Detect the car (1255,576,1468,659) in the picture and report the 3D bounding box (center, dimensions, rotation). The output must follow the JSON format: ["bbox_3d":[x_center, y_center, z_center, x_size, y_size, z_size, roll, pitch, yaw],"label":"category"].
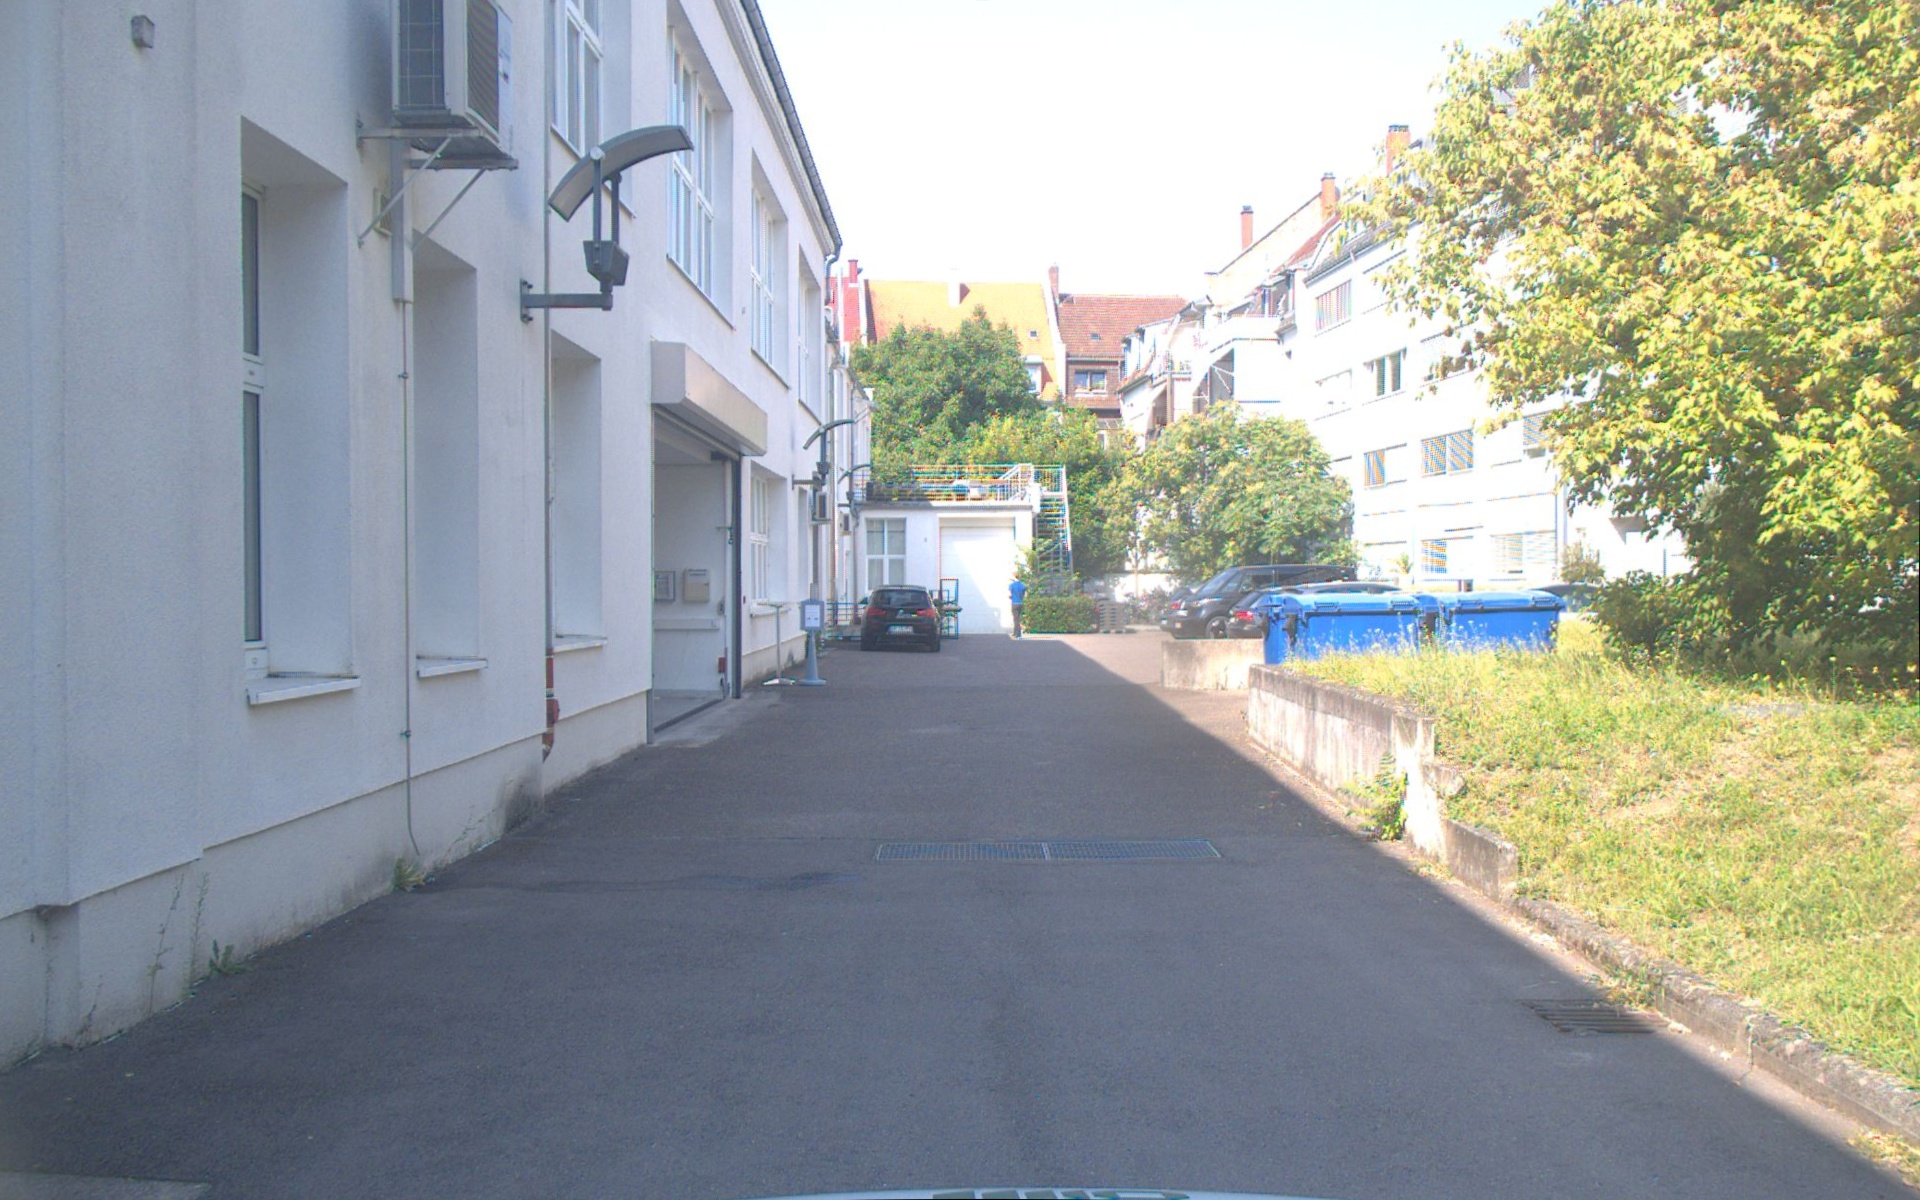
[{"bbox_3d":[8.057,0.344,33.408,3.786,1.617,1.877,0,0,-5],"label":"car"}]

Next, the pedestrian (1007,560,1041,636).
[{"bbox_3d":[1.725,-0.053,44.765,0.895,2.049,0.935,0,0,0],"label":"pedestrian"}]

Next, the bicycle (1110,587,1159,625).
[{"bbox_3d":[5.926,0.200,56.121,1.590,1.235,0.424,-1,0,-1],"label":"bicycle"}]

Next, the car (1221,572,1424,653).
[{"bbox_3d":[7.884,0.263,36.228,4.034,1.721,1.770,0,0,-3],"label":"car"}]

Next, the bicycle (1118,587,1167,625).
[{"bbox_3d":[6.106,0.200,55.444,1.588,1.235,0.327,-1,0,13],"label":"bicycle"}]

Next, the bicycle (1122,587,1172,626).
[{"bbox_3d":[6.103,0.200,54.013,1.589,1.235,0.327,-1,0,1],"label":"bicycle"}]

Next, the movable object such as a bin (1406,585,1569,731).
[{"bbox_3d":[5.112,0.548,16.093,1.202,1.364,1.076,0,0,-4],"label":"movable object such as a bin"}]

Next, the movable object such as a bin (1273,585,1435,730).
[{"bbox_3d":[3.808,0.541,16.102,1.283,1.364,1.099,0,0,-3],"label":"movable object such as a bin"}]

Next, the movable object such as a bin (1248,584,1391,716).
[{"bbox_3d":[3.855,0.523,17.855,1.274,1.364,1.194,0,0,-1],"label":"movable object such as a bin"}]

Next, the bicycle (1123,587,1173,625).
[{"bbox_3d":[6.170,0.200,54.335,1.589,1.235,0.327,-1,0,1],"label":"bicycle"}]

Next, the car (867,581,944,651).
[{"bbox_3d":[-1.209,0.343,37.311,1.654,1.484,3.922,0,0,-1],"label":"car"}]

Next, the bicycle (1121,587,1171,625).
[{"bbox_3d":[6.143,0.200,54.628,1.589,1.235,0.327,-1,0,1],"label":"bicycle"}]

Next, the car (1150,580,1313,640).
[{"bbox_3d":[7.089,0.253,43.319,3.859,1.508,1.771,-1,0,-9],"label":"car"}]

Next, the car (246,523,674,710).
[{"bbox_3d":[-6.051,0.159,20.442,4.649,2.129,2.056,1,2,0],"label":"car"}]

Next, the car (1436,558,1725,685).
[{"bbox_3d":[9.170,0.302,24.643,3.546,1.571,1.802,-4,0,-2],"label":"car"}]

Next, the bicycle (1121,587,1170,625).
[{"bbox_3d":[6.181,0.200,55.079,1.588,1.235,0.327,-1,0,10],"label":"bicycle"}]

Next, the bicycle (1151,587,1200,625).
[{"bbox_3d":[7.164,0.205,54.977,1.588,1.235,0.327,-1,0,15],"label":"bicycle"}]

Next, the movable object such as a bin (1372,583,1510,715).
[{"bbox_3d":[5.154,0.512,17.811,1.209,1.364,1.117,0,0,4],"label":"movable object such as a bin"}]

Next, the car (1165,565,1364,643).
[{"bbox_3d":[7.399,0.092,40.433,4.417,1.826,1.879,-1,-1,-9],"label":"car"}]
